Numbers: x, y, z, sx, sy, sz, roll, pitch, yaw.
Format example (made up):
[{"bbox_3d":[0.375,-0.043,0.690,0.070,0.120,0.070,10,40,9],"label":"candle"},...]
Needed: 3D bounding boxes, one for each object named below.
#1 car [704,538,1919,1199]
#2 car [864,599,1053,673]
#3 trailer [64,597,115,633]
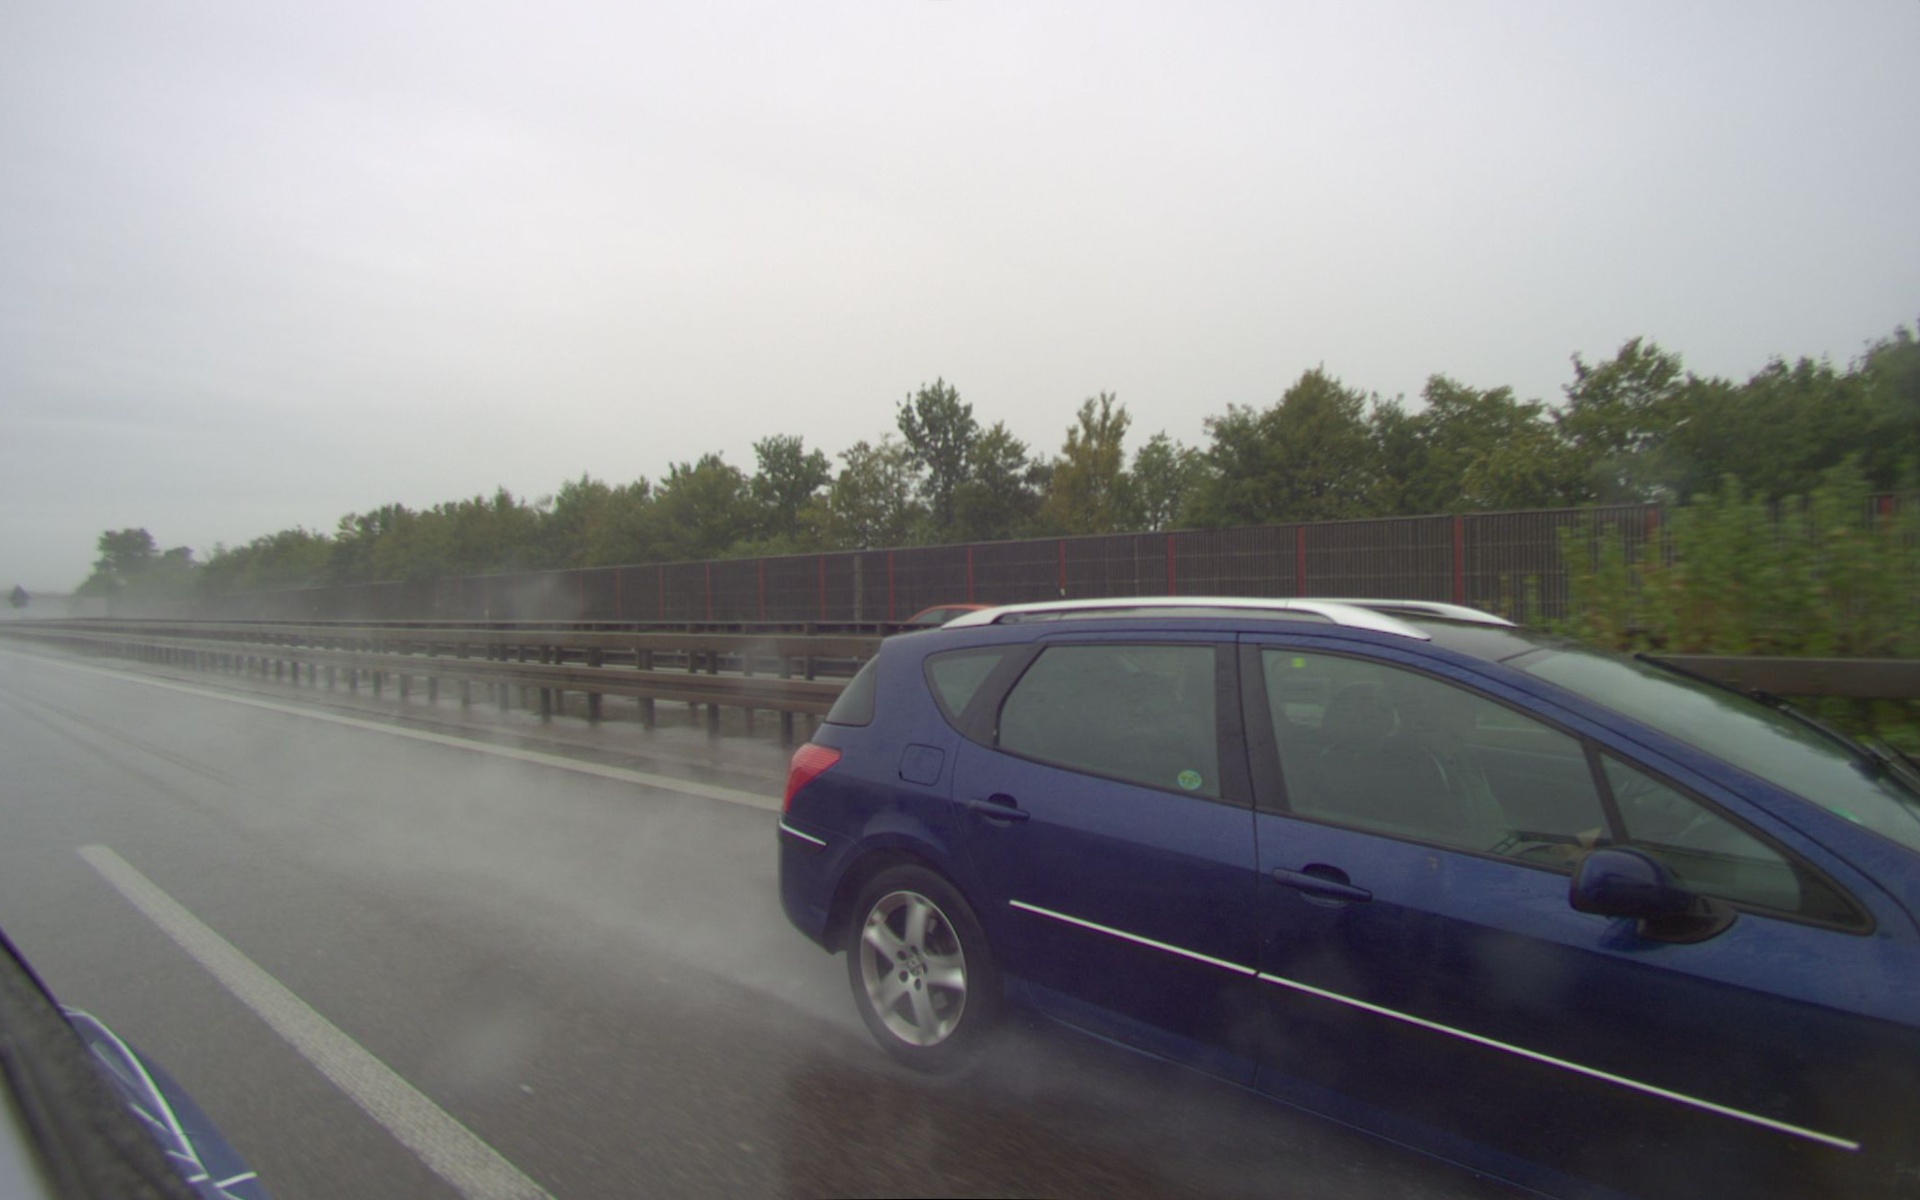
[{"bbox_3d":[1.704,0.658,2.617,5.156,1.496,2.033,-2,-1,41],"label":"car"},{"bbox_3d":[-0.081,0.706,21.158,3.739,1.393,1.729,-1,0,41],"label":"car"},{"bbox_3d":[-119.351,2.062,138.725,12.240,4.731,3.828,-2,-1,42],"label":"trailer"}]
